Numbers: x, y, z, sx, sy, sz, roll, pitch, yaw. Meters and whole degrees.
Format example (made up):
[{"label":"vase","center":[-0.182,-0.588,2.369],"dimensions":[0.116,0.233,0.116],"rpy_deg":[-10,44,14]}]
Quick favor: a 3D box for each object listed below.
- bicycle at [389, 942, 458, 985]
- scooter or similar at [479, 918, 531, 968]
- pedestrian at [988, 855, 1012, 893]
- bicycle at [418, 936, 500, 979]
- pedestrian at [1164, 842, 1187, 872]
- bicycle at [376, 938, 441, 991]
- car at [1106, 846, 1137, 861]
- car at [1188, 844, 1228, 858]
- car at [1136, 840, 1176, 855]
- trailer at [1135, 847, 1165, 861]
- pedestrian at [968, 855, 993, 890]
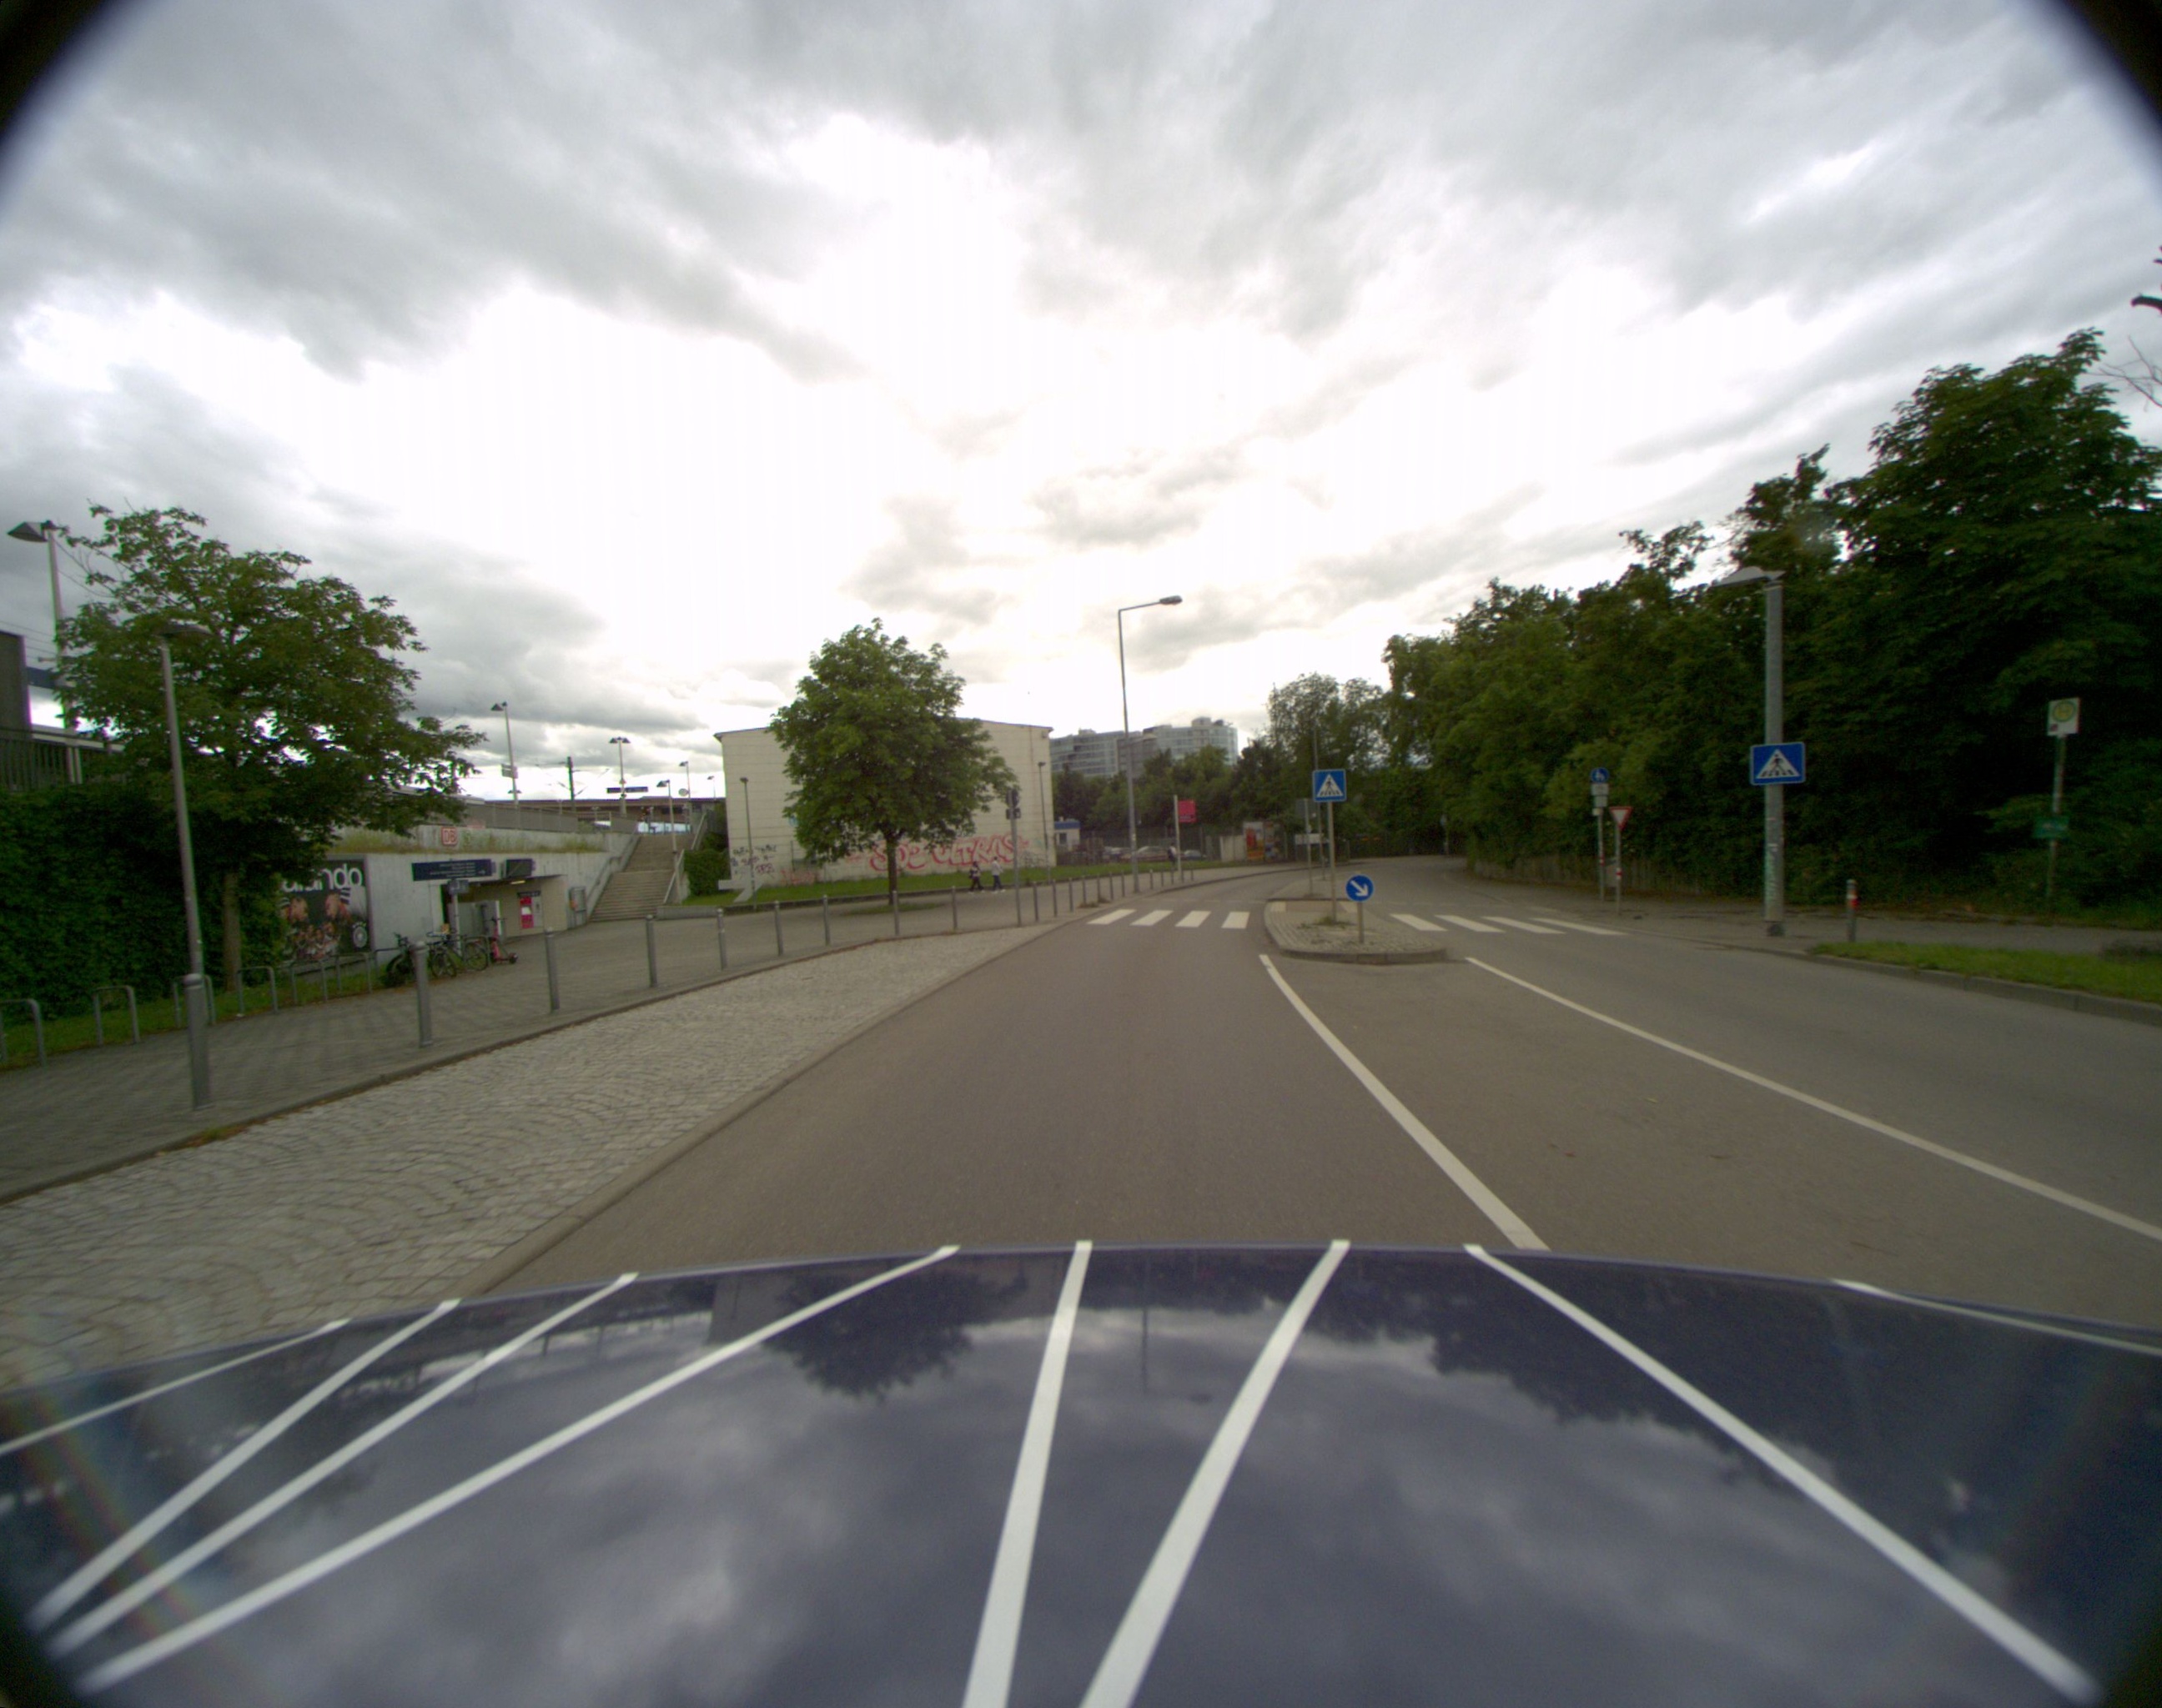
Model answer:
[{"label":"bicycle","center":[-14.708,2.444,16.995],"dimensions":[1.577,0.849,0.464],"rpy_deg":[-5,0,22]},{"label":"scooter or similar","center":[-15.043,2.336,19.839],"dimensions":[1.189,1.199,0.469],"rpy_deg":[-5,1,22]},{"label":"pedestrian","center":[-3.786,0.912,35.467],"dimensions":[0.750,1.693,0.815],"rpy_deg":[-5,3,-31]},{"label":"bicycle","center":[-14.956,2.488,18.260],"dimensions":[1.968,0.860,0.511],"rpy_deg":[-6,-1,19]},{"label":"pedestrian","center":[5.469,0.141,44.124],"dimensions":[0.941,1.675,0.848],"rpy_deg":[-5,4,-35]},{"label":"bicycle","center":[-14.135,2.295,15.960],"dimensions":[1.488,0.984,0.695],"rpy_deg":[-5,0,37]},{"label":"car","center":[3.982,-0.081,74.595],"dimensions":[1.808,1.369,3.792],"rpy_deg":[-3,1,-16]},{"label":"car","center":[11.905,-0.281,71.187],"dimensions":[3.374,1.245,1.468],"rpy_deg":[0,1,-21]},{"label":"car","center":[7.737,-0.679,78.057],"dimensions":[3.815,1.523,1.562],"rpy_deg":[0,2,-21]},{"label":"trailer","center":[6.282,-0.015,69.179],"dimensions":[1.850,1.131,2.635],"rpy_deg":[-2,1,-17]},{"label":"pedestrian","center":[-4.766,0.863,36.048],"dimensions":[0.803,1.575,0.800],"rpy_deg":[-5,3,-31]}]
